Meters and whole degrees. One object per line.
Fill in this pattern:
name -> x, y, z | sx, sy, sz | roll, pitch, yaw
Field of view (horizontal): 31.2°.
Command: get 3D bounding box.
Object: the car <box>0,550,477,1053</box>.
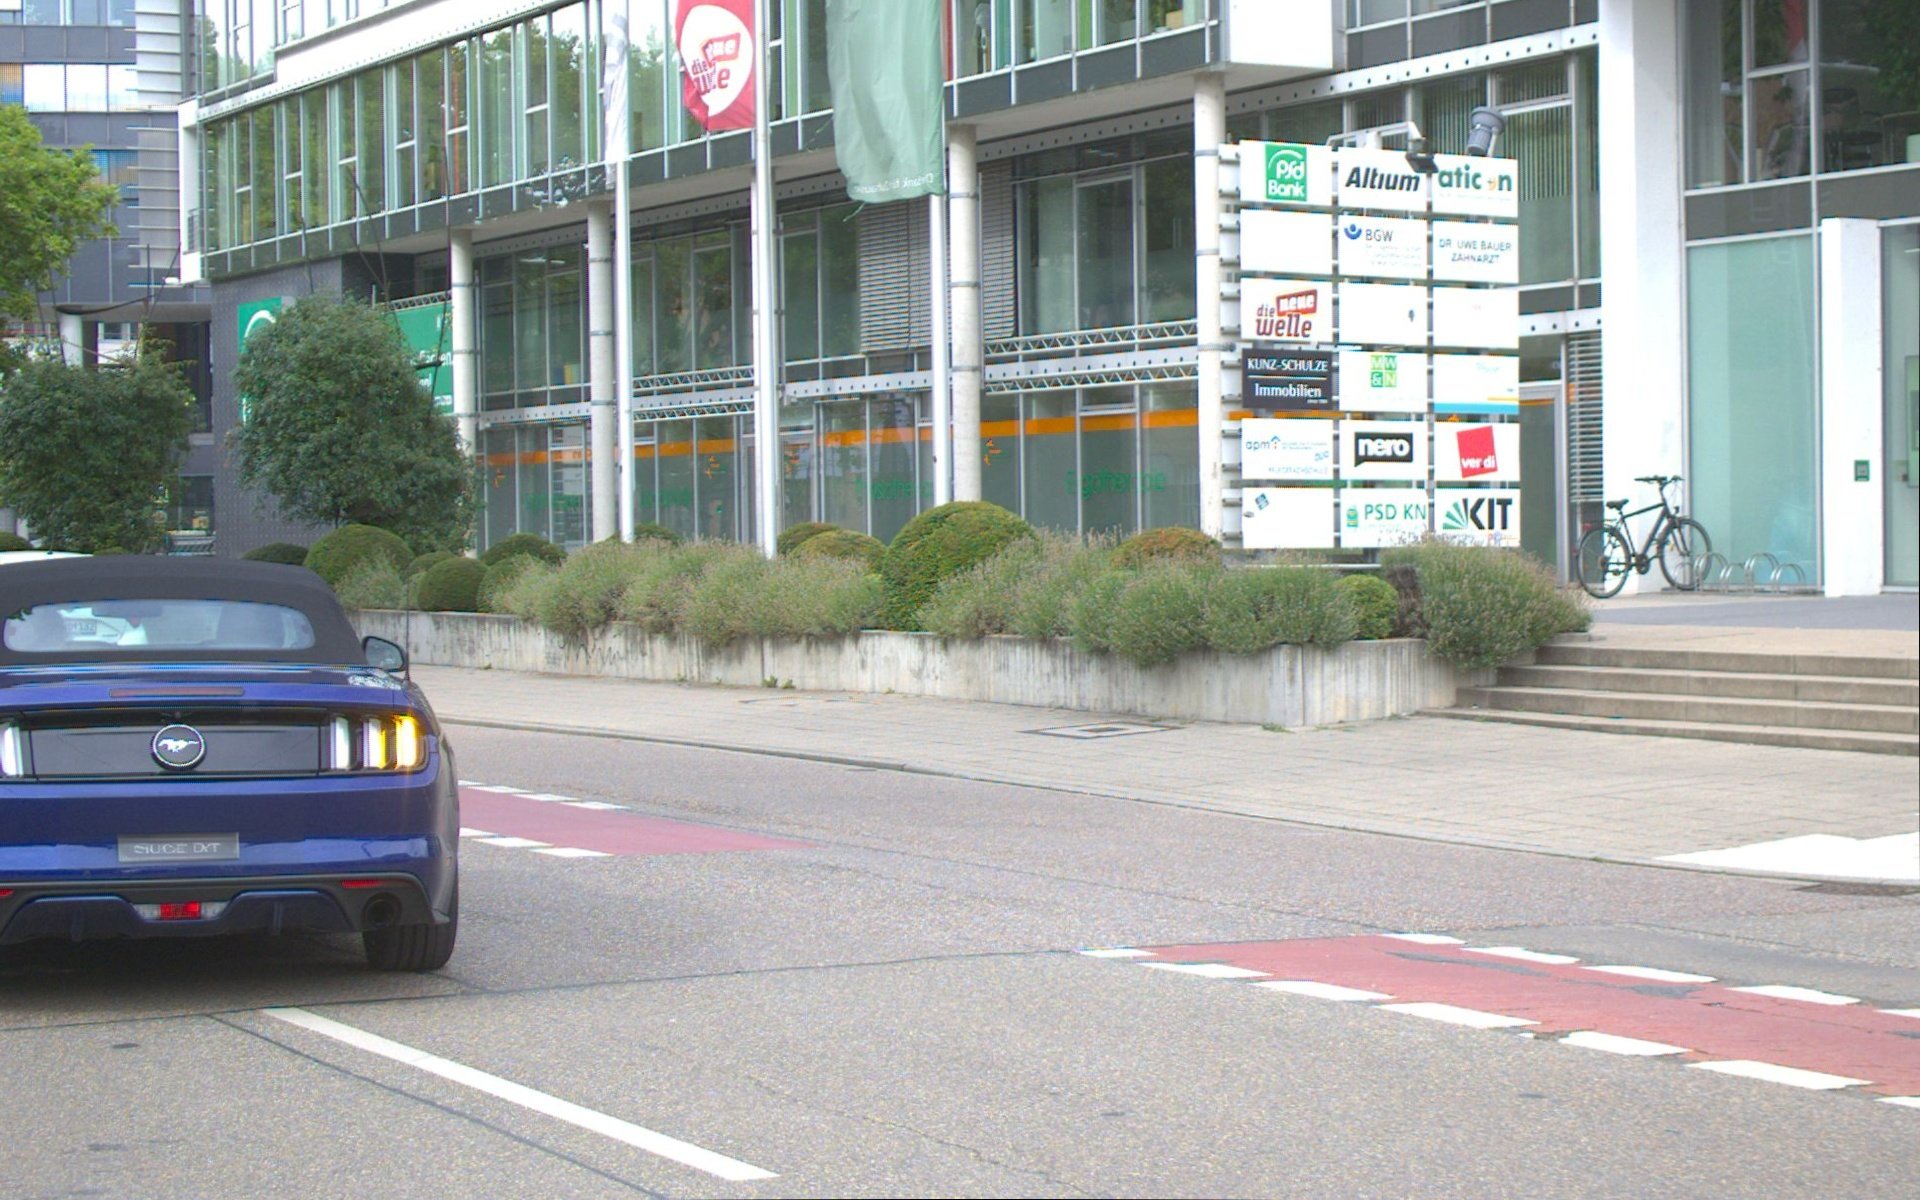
car -> -2.932, 0.557, 12.135 | 1.875, 1.399, 4.283 | -1, 2, -15

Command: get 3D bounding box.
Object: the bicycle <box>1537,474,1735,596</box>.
bicycle -> 6.661, -0.650, 33.839 | 2.108, 1.173, 0.586 | -1, 2, -34

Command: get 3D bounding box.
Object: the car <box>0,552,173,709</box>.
car -> -9.370, 0.276, 34.302 | 1.835, 1.434, 4.188 | -2, 1, -29
